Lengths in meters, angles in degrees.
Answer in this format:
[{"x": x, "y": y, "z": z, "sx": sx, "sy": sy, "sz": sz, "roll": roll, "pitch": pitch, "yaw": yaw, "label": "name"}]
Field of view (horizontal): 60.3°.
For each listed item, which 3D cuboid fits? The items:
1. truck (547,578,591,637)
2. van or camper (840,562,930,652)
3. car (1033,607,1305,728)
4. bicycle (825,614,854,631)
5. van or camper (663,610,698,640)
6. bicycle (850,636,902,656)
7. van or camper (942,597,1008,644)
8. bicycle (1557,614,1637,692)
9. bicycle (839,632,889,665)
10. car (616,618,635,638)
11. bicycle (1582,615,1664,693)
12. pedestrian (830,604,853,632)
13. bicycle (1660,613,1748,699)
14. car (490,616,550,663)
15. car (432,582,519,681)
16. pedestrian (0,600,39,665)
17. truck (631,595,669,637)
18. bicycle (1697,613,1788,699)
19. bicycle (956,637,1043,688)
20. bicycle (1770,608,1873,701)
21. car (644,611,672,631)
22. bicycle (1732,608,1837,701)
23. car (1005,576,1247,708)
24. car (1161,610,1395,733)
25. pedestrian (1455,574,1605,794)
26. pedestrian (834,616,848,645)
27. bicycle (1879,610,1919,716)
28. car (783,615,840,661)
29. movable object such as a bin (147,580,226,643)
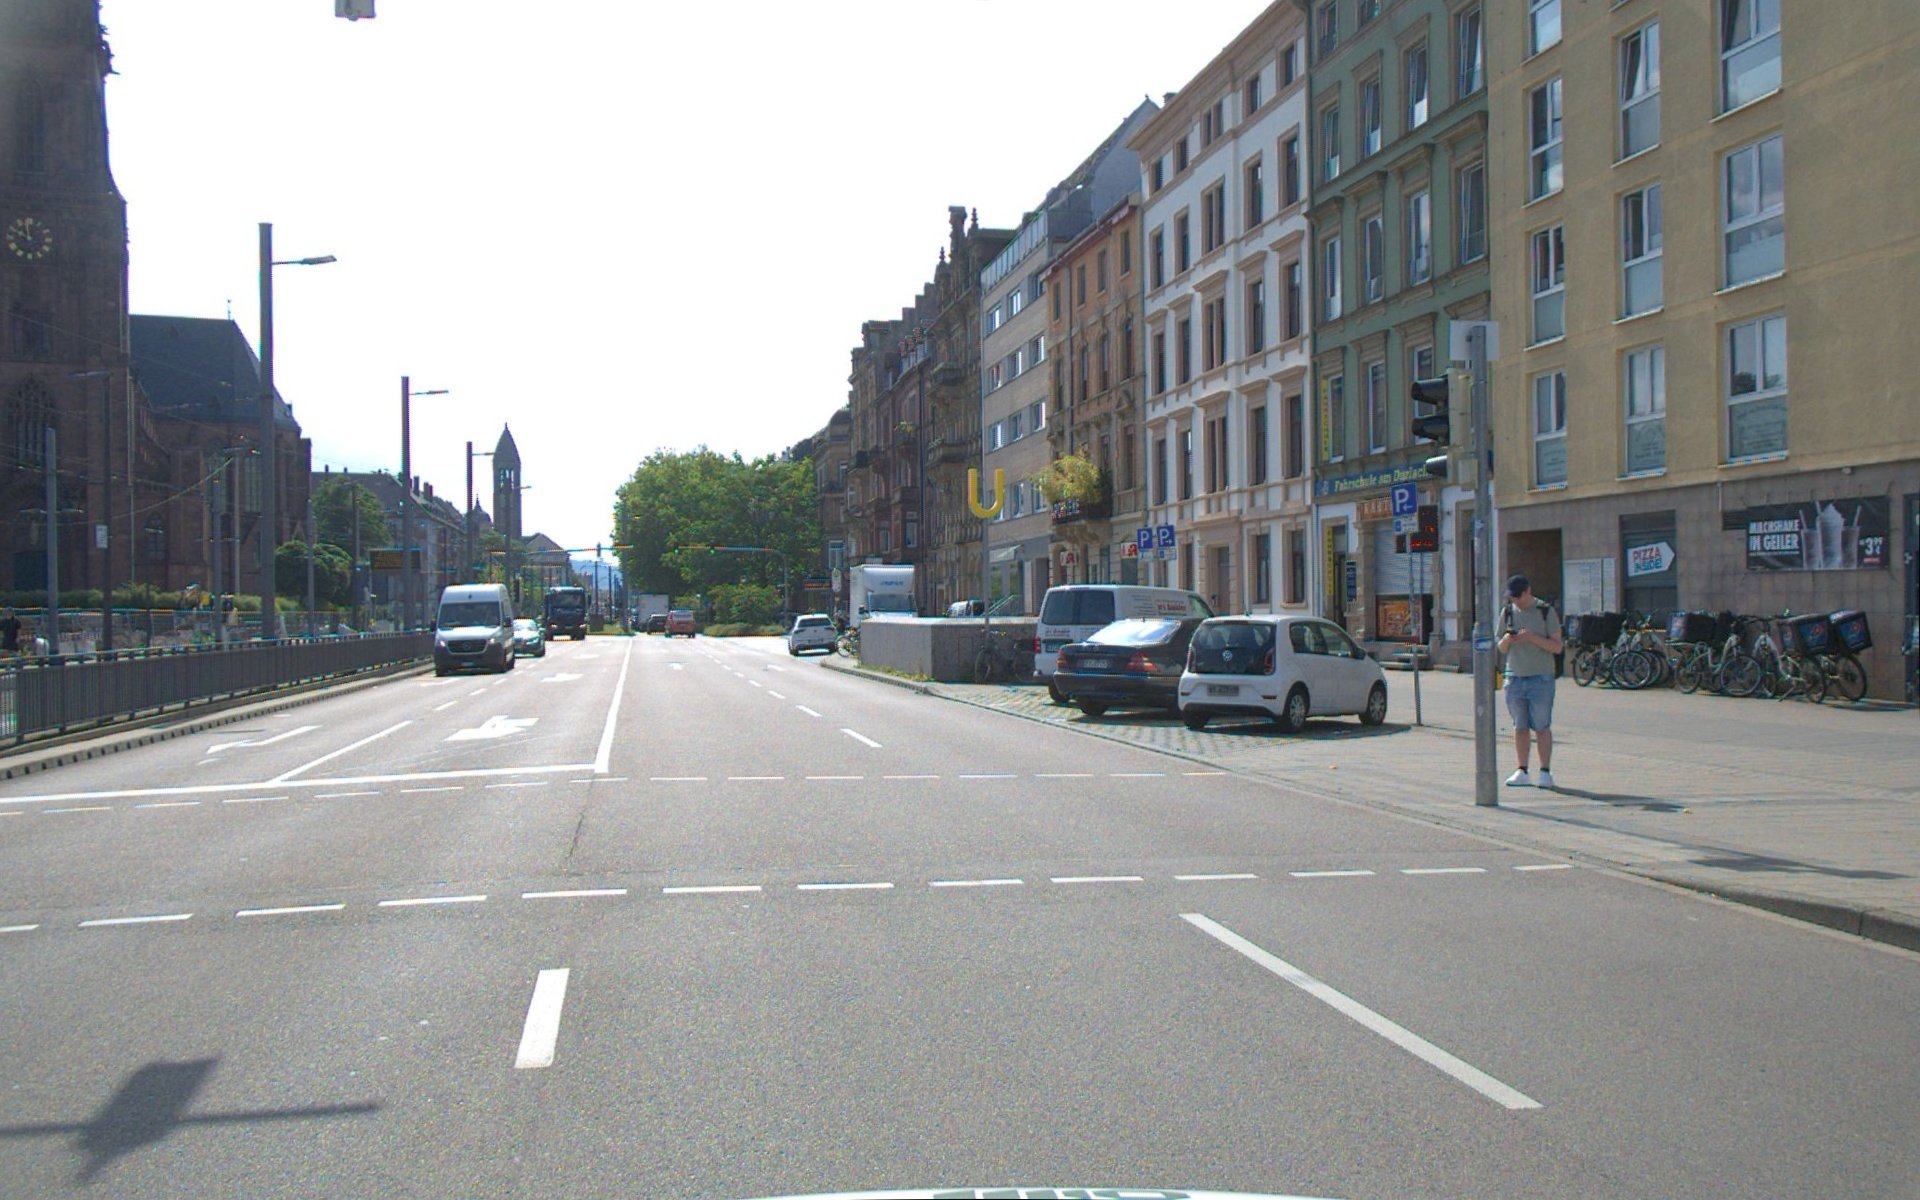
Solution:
[{"x": -25.666, "y": 0.508, "z": 108.904, "sx": 2.419, "sy": 3.712, "sz": 7.430, "roll": -1, "pitch": 0, "yaw": -11, "label": "truck"}, {"x": -3.089, "y": 0.185, "z": 66.179, "sx": 2.663, "sy": 3.388, "sz": 7.623, "roll": -1, "pitch": 1, "yaw": -10, "label": "van or camper"}, {"x": 3.266, "y": 0.925, "z": 24.927, "sx": 1.854, "sy": 1.494, "sz": 5.044, "roll": 0, "pitch": 1, "yaw": 36, "label": "car"}, {"x": -9.169, "y": 1.718, "z": 126.068, "sx": 2.154, "sy": 1.201, "sz": 0.681, "roll": -1, "pitch": 1, "yaw": -16, "label": "bicycle"}, {"x": -19.548, "y": 1.770, "z": 115.509, "sx": 1.975, "sy": 1.948, "sz": 4.504, "roll": 2, "pitch": -3, "yaw": -15, "label": "van or camper"}, {"x": -2.741, "y": 1.494, "z": 53.856, "sx": 1.737, "sy": 0.596, "sz": 0.635, "roll": 0, "pitch": 2, "yaw": 39, "label": "bicycle"}, {"x": 0.655, "y": 0.919, "z": 77.618, "sx": 1.958, "sy": 1.937, "sz": 5.284, "roll": -3, "pitch": 2, "yaw": -11, "label": "van or camper"}, {"x": 10.801, "y": 0.883, "z": 28.086, "sx": 0.477, "sy": 1.222, "sz": 1.641, "roll": -1, "pitch": 1, "yaw": -11, "label": "bicycle"}, {"x": -3.371, "y": 1.706, "z": 58.193, "sx": 1.735, "sy": 1.104, "sz": 0.370, "roll": 0, "pitch": 2, "yaw": -24, "label": "bicycle"}, {"x": -32.211, "y": 2.716, "z": 159.397, "sx": 1.739, "sy": 1.691, "sz": 3.988, "roll": 2, "pitch": -3, "yaw": -11, "label": "car"}, {"x": 11.307, "y": 0.898, "z": 28.244, "sx": 0.477, "sy": 1.222, "sz": 1.641, "roll": -1, "pitch": 1, "yaw": -11, "label": "bicycle"}, {"x": -5.866, "y": 0.877, "z": 81.956, "sx": 0.806, "sy": 1.339, "sz": 0.740, "roll": 2, "pitch": 0, "yaw": 40, "label": "pedestrian"}, {"x": 11.438, "y": 0.834, "z": 25.472, "sx": 0.477, "sy": 1.222, "sz": 1.643, "roll": -1, "pitch": 1, "yaw": -7, "label": "bicycle"}, {"x": -17.015, "y": 1.498, "z": 64.121, "sx": 1.816, "sy": 1.480, "sz": 4.544, "roll": -2, "pitch": 2, "yaw": -10, "label": "car"}, {"x": -14.400, "y": 0.857, "z": 49.423, "sx": 1.958, "sy": 2.667, "sz": 5.565, "roll": -2, "pitch": 2, "yaw": -11, "label": "car"}, {"x": -28.223, "y": 0.963, "z": 49.319, "sx": 0.978, "sy": 1.830, "sz": 1.046, "roll": 1, "pitch": 3, "yaw": -6, "label": "pedestrian"}, {"x": -27.324, "y": 1.420, "z": 145.522, "sx": 3.115, "sy": 3.344, "sz": 7.272, "roll": 1, "pitch": -3, "yaw": -12, "label": "truck"}, {"x": 11.985, "y": 0.838, "z": 25.377, "sx": 0.477, "sy": 1.222, "sz": 1.643, "roll": -1, "pitch": 1, "yaw": -7, "label": "bicycle"}, {"x": 0.838, "y": 1.335, "z": 35.180, "sx": 1.744, "sy": 1.021, "sz": 0.510, "roll": 2, "pitch": 0, "yaw": -17, "label": "bicycle"}, {"x": 12.279, "y": 0.759, "z": 23.621, "sx": 0.477, "sy": 1.222, "sz": 1.643, "roll": -1, "pitch": 1, "yaw": -7, "label": "bicycle"}, {"x": -23.153, "y": 1.595, "z": 126.822, "sx": 1.959, "sy": 1.534, "sz": 3.987, "roll": -1, "pitch": 0, "yaw": -13, "label": "car"}, {"x": 11.730, "y": 0.749, "z": 23.582, "sx": 0.536, "sy": 1.222, "sz": 1.643, "roll": -1, "pitch": 1, "yaw": -7, "label": "bicycle"}, {"x": 3.020, "y": 0.707, "z": 29.101, "sx": 2.038, "sy": 2.121, "sz": 4.881, "roll": -3, "pitch": -2, "yaw": 36, "label": "car"}, {"x": 4.325, "y": 0.888, "z": 22.152, "sx": 1.686, "sy": 1.465, "sz": 3.497, "roll": 1, "pitch": 1, "yaw": 37, "label": "car"}, {"x": 4.861, "y": 0.708, "z": 14.103, "sx": 0.984, "sy": 1.791, "sz": 0.776, "roll": 2, "pitch": -3, "yaw": -36, "label": "pedestrian"}, {"x": -8.593, "y": 2.181, "z": 119.647, "sx": 0.870, "sy": 2.049, "sz": 0.993, "roll": 1, "pitch": 0, "yaw": -11, "label": "pedestrian"}, {"x": 12.348, "y": 0.807, "z": 20.456, "sx": 0.479, "sy": 1.294, "sz": 1.880, "roll": -1, "pitch": 1, "yaw": -19, "label": "bicycle"}, {"x": -5.699, "y": 1.425, "z": 62.916, "sx": 1.758, "sy": 1.462, "sz": 4.334, "roll": -4, "pitch": 1, "yaw": -9, "label": "car"}, {"x": -49.448, "y": 0.681, "z": 105.889, "sx": 2.613, "sy": 3.795, "sz": 5.590, "roll": 0, "pitch": 2, "yaw": -4, "label": "movable object such as a bin"}]
